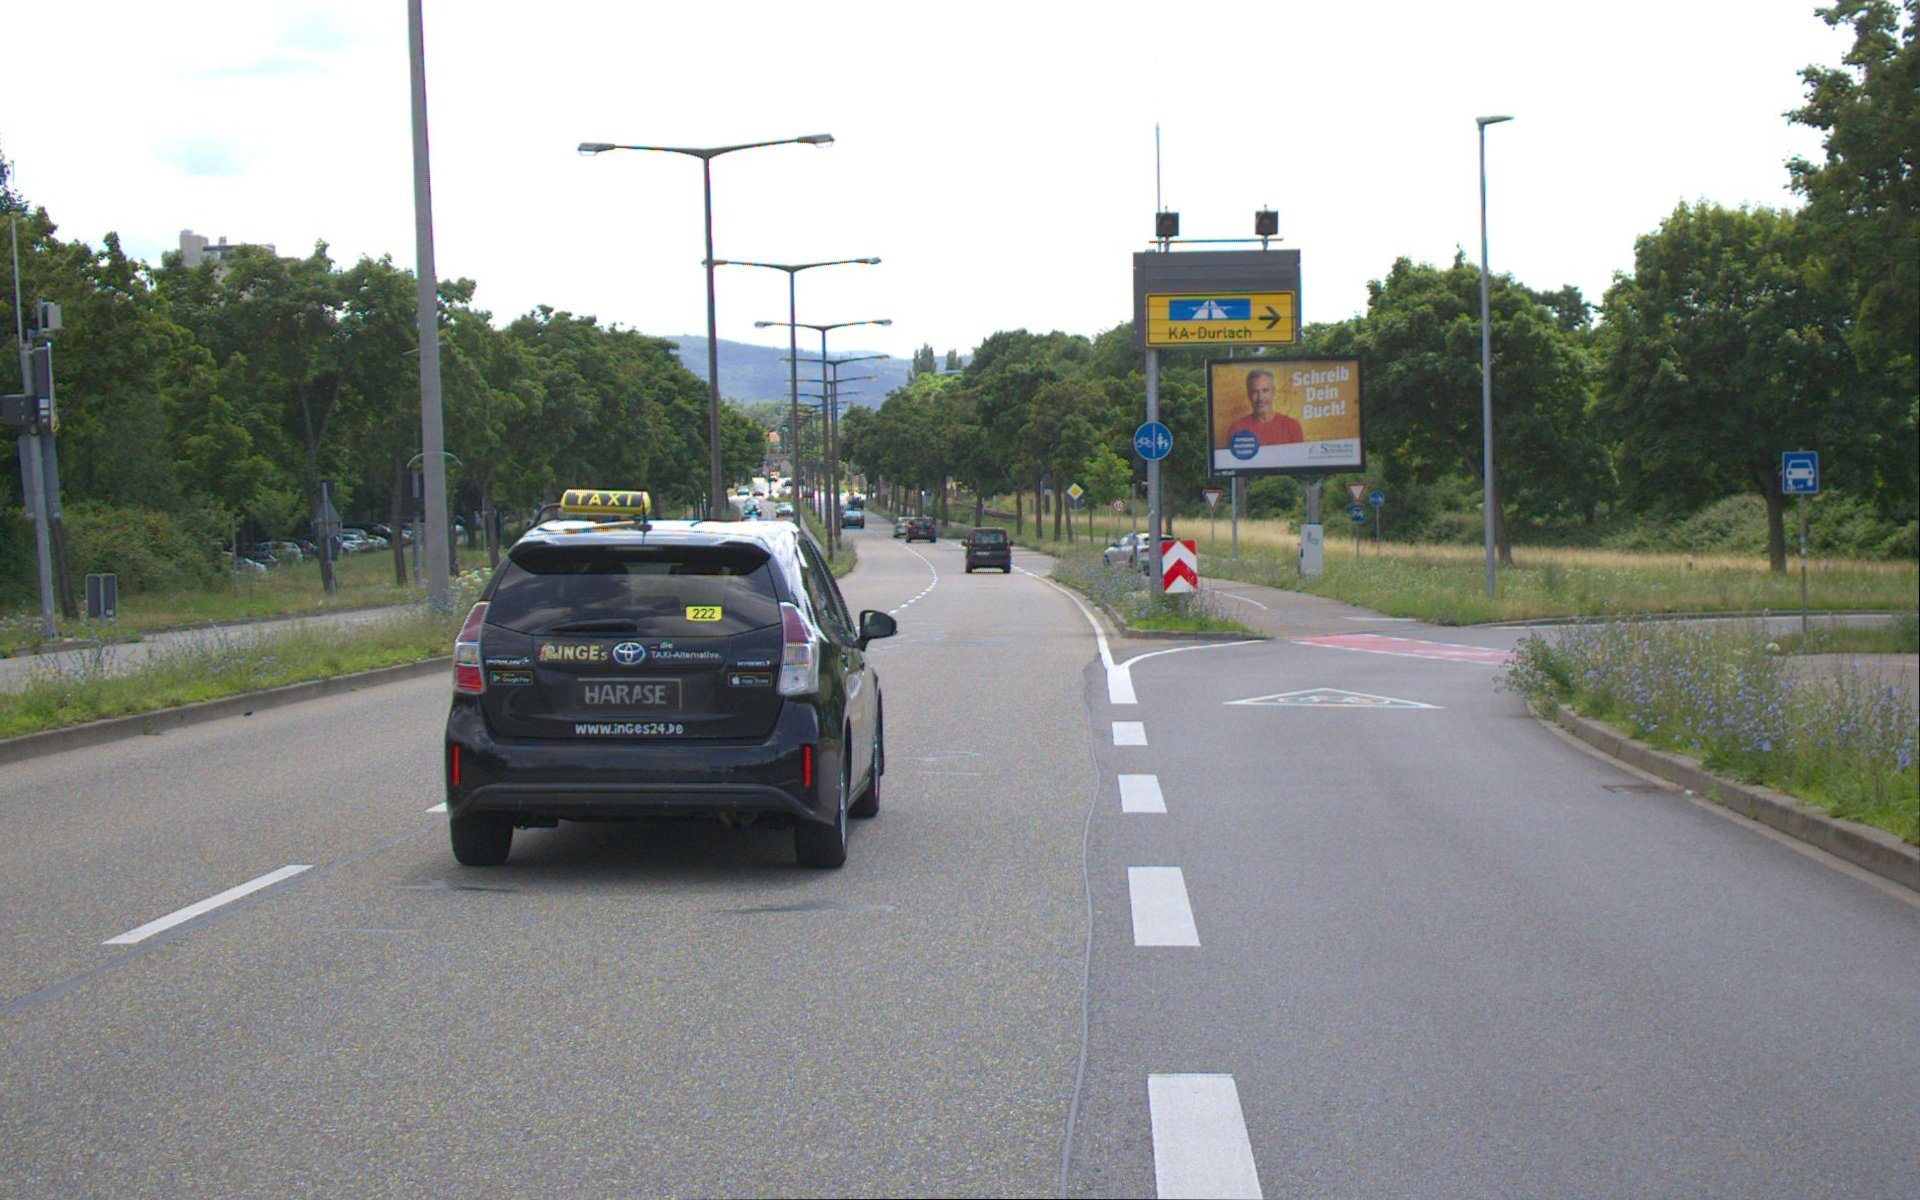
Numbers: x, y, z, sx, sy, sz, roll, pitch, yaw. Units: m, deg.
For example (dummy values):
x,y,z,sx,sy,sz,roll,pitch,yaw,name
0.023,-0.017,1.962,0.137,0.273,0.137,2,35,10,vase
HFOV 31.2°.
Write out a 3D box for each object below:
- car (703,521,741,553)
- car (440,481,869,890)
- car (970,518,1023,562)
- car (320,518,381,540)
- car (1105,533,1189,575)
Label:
x,y,z,sx,sy,sz,roll,pitch,yaw,name
-13.929,-3.689,201.543,1.876,1.784,4.729,-3,1,-1,car
-1.340,0.292,16.362,1.779,1.678,4.001,0,2,-2,car
1.460,-2.437,138.403,1.993,1.656,4.001,0,2,-1,car
-40.884,-4.757,230.685,3.785,1.383,1.786,1,2,2,car
7.085,-1.756,130.911,1.993,1.503,4.002,0,2,-16,car
